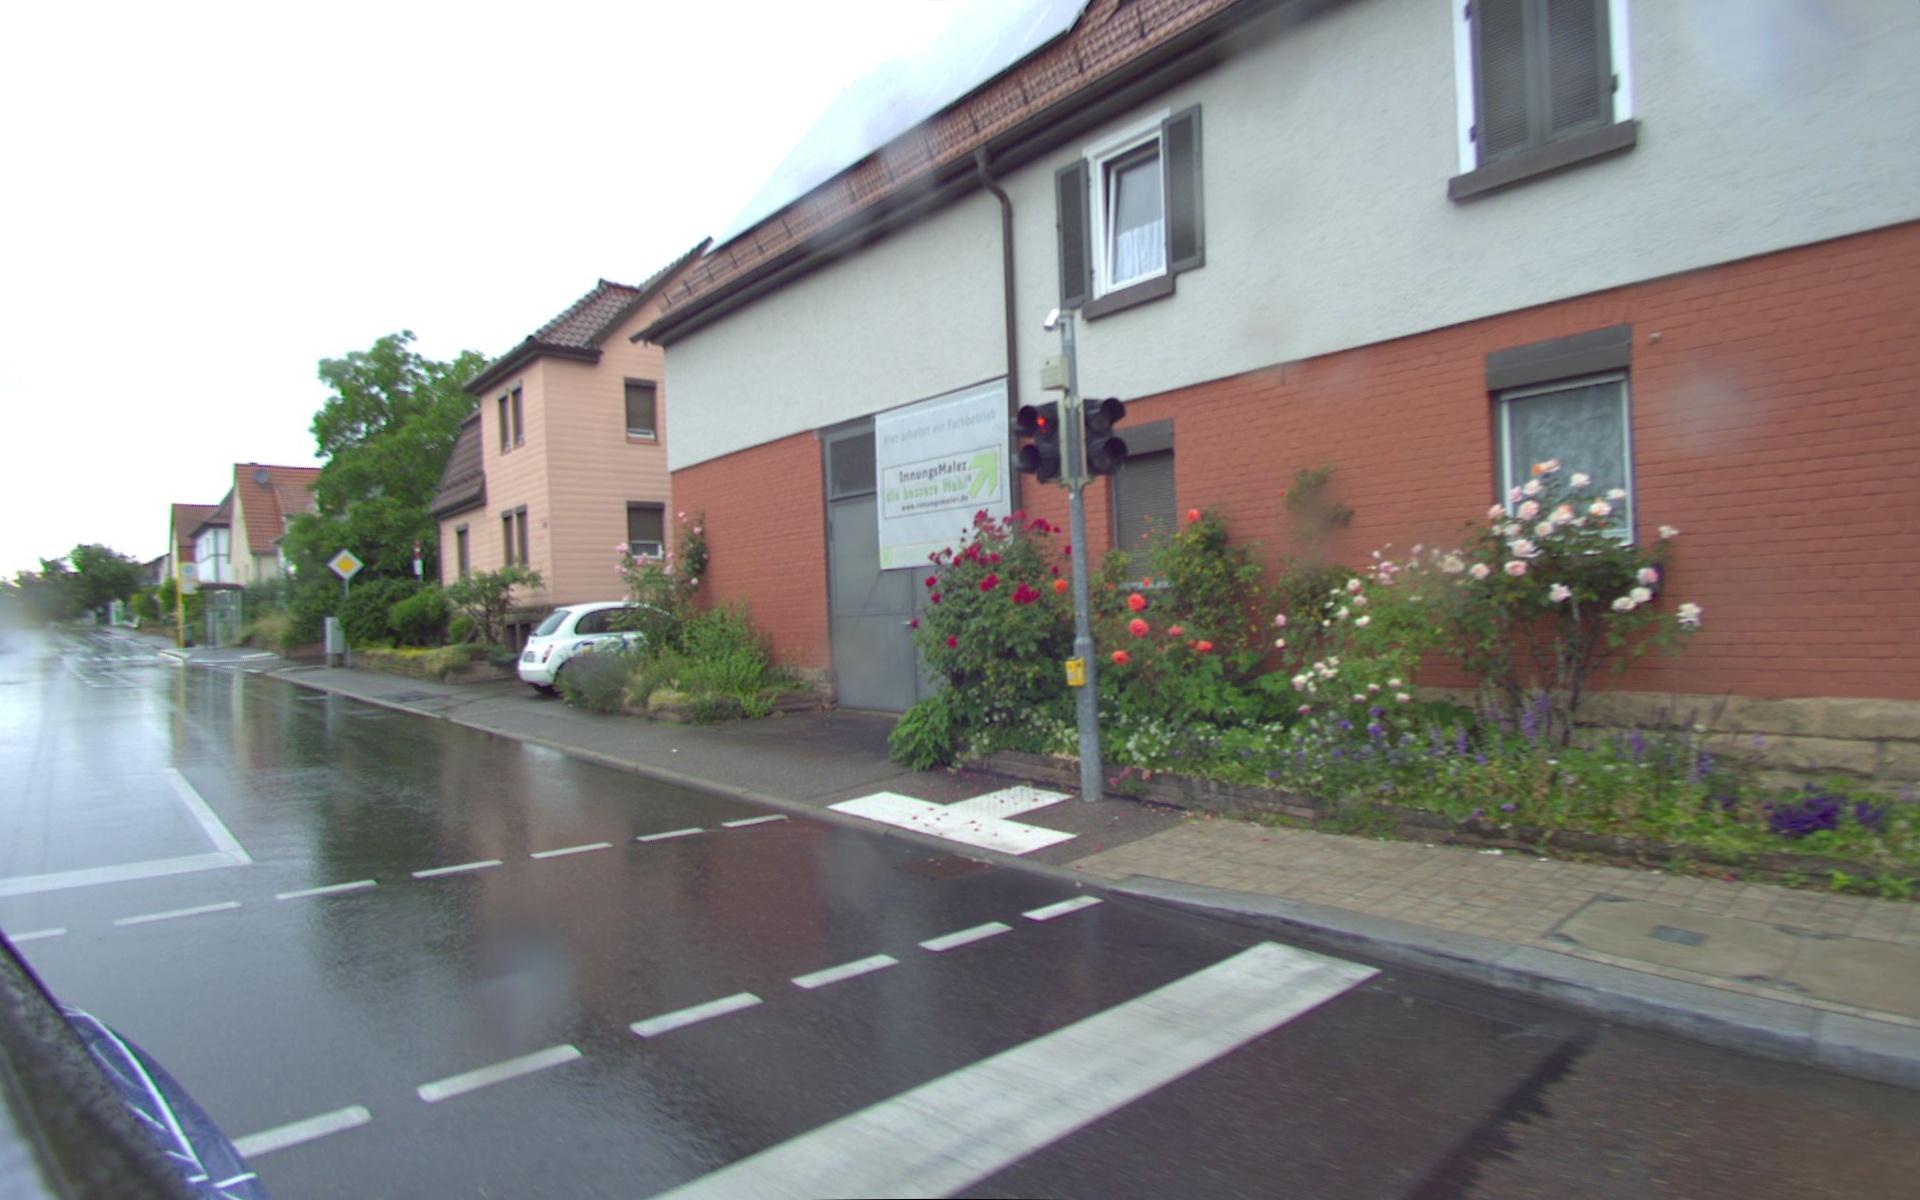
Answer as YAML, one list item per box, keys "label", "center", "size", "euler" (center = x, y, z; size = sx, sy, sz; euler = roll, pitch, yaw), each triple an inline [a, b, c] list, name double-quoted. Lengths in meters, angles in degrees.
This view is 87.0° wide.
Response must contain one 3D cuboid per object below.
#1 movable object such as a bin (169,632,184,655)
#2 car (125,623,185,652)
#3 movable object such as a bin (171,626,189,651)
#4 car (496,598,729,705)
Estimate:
- label: "movable object such as a bin"
  center: [-35.136, 1.954, 45.383]
  size: [0.462, 0.946, 0.455]
  euler: [-6, 0, -41]
- label: "car"
  center: [-76.019, 3.577, 95.588]
  size: [1.874, 1.989, 3.944]
  euler: [-2, -13, 44]
- label: "movable object such as a bin"
  center: [-35.381, 1.740, 45.925]
  size: [0.546, 1.090, 0.528]
  euler: [-5, 2, -41]
- label: "car"
  center: [-6.133, 0.846, 18.053]
  size: [3.502, 1.540, 1.665]
  euler: [-4, 1, -42]
